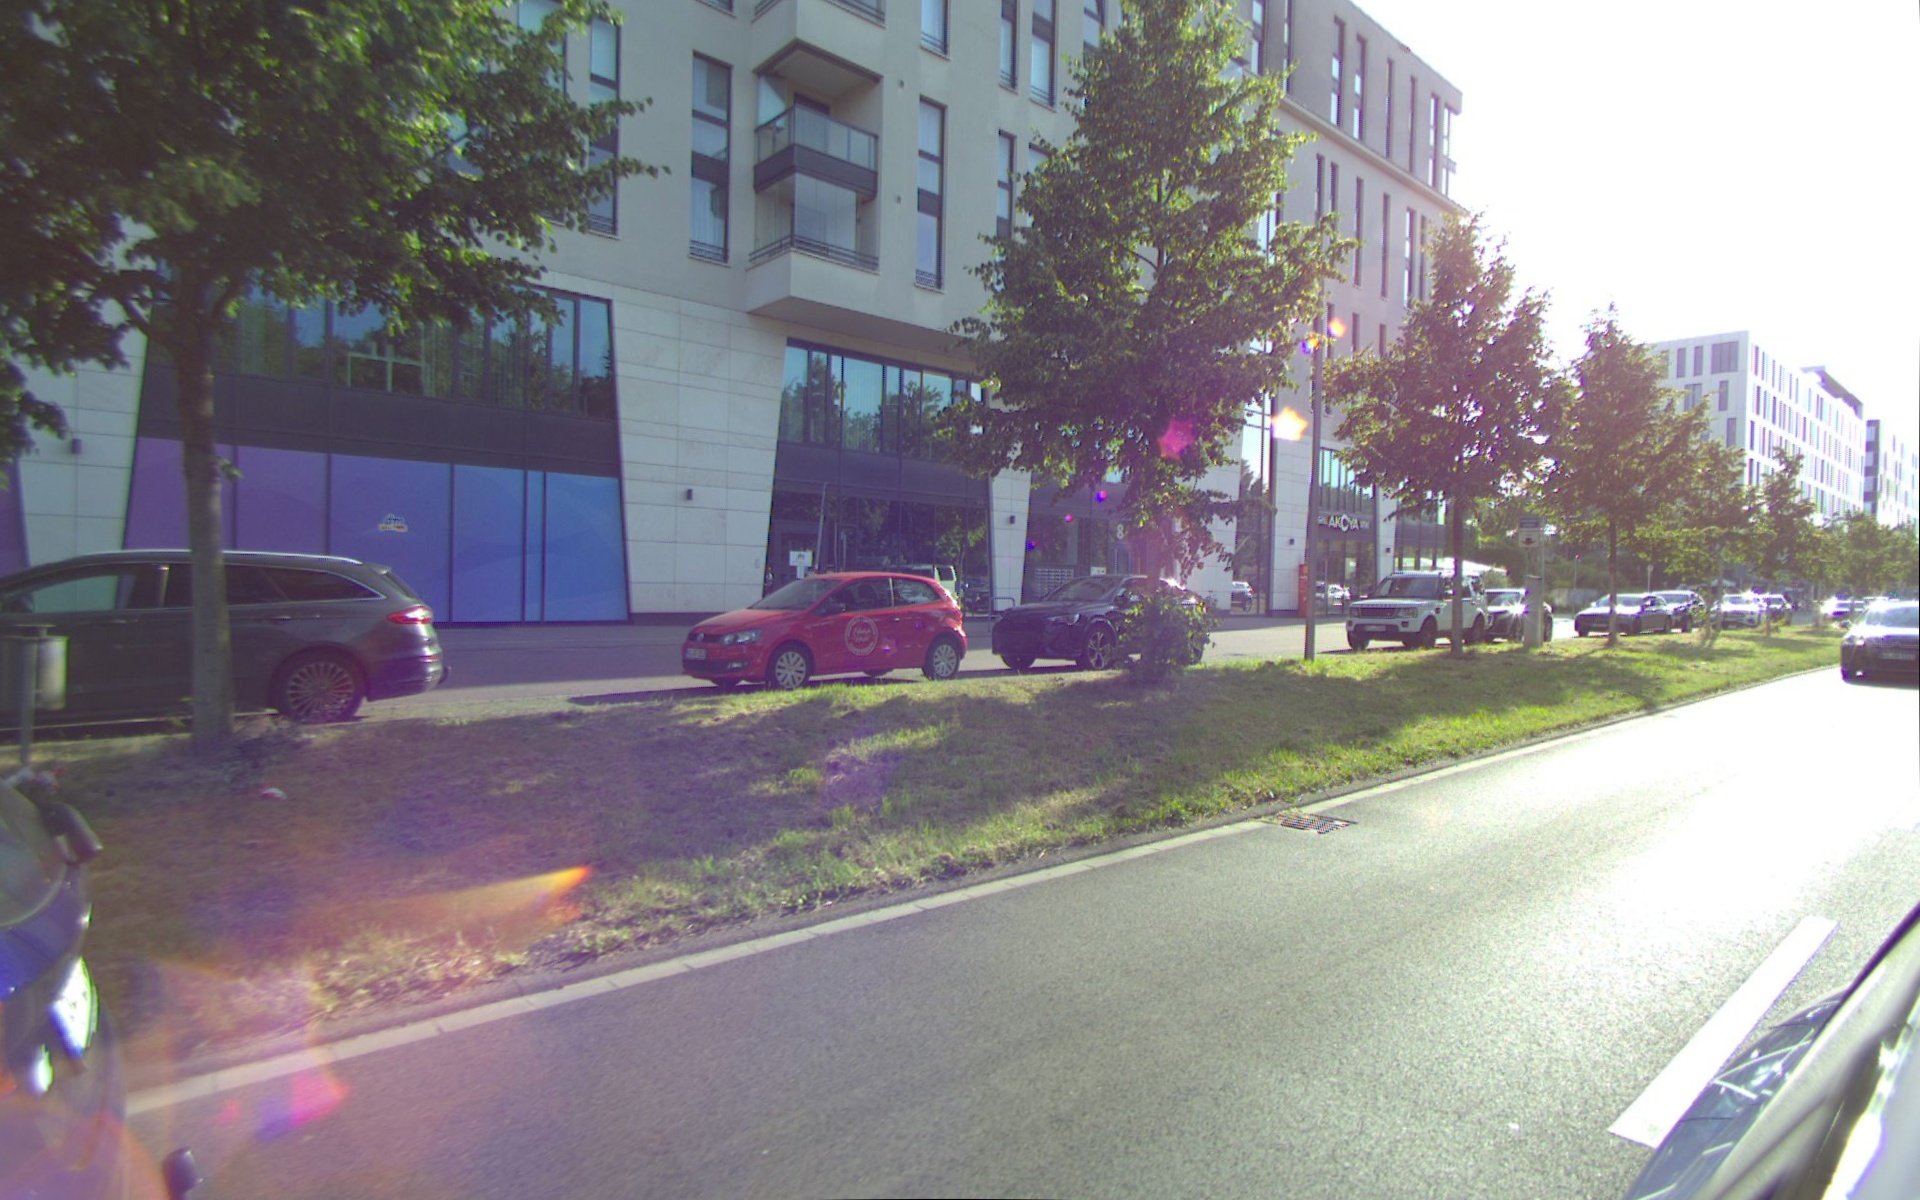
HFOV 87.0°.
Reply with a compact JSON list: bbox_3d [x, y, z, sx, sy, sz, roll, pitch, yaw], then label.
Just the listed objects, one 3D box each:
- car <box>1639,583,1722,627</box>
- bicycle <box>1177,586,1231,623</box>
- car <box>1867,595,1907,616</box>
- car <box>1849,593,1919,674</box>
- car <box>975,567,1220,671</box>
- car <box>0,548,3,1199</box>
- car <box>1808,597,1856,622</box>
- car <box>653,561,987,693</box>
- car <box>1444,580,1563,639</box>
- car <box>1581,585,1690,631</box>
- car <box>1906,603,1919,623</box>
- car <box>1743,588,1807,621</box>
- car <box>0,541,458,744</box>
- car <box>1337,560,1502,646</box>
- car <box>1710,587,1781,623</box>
[{"bbox_3d":[28.193,0.174,39.546,4.254,1.618,1.762,-1,0,-42],"label":"car"},{"bbox_3d":[7.360,0.122,30.487,1.949,1.083,0.512,-1,3,-41],"label":"bicycle"},{"bbox_3d":[70.543,0.394,77.026,4.254,1.549,1.838,-1,0,-42],"label":"car"},{"bbox_3d":[18.582,0.590,19.516,3.970,1.442,1.697,-1,0,-42],"label":"car"},{"bbox_3d":[2.403,0.253,16.886,1.868,1.510,4.345,0,0,44],"label":"car"},{"bbox_3d":[-2.929,0.633,0.254,3.840,1.442,1.562,-1,0,-42],"label":"car"},{"bbox_3d":[56.150,0.594,65.136,4.254,1.549,1.838,-1,0,-42],"label":"car"},{"bbox_3d":[-1.703,0.276,13.165,4.044,1.450,1.730,-1,0,-42],"label":"car"},{"bbox_3d":[15.187,0.230,28.209,4.141,1.507,1.761,-1,0,-44],"label":"car"},{"bbox_3d":[23.761,0.254,35.528,4.829,1.507,1.764,-1,0,-38],"label":"car"},{"bbox_3d":[90.096,1.169,94.886,3.826,1.810,1.738,-1,0,-42],"label":"car"},{"bbox_3d":[40.607,0.198,50.387,4.254,1.549,1.838,-1,0,-42],"label":"car"},{"bbox_3d":[-6.878,0.294,8.354,4.638,1.450,1.731,-1,0,-40],"label":"car"},{"bbox_3d":[11.192,0.040,24.508,4.761,1.898,1.897,-1,0,-42],"label":"car"},{"bbox_3d":[35.878,0.201,46.176,4.254,1.549,1.838,-1,0,-42],"label":"car"}]
